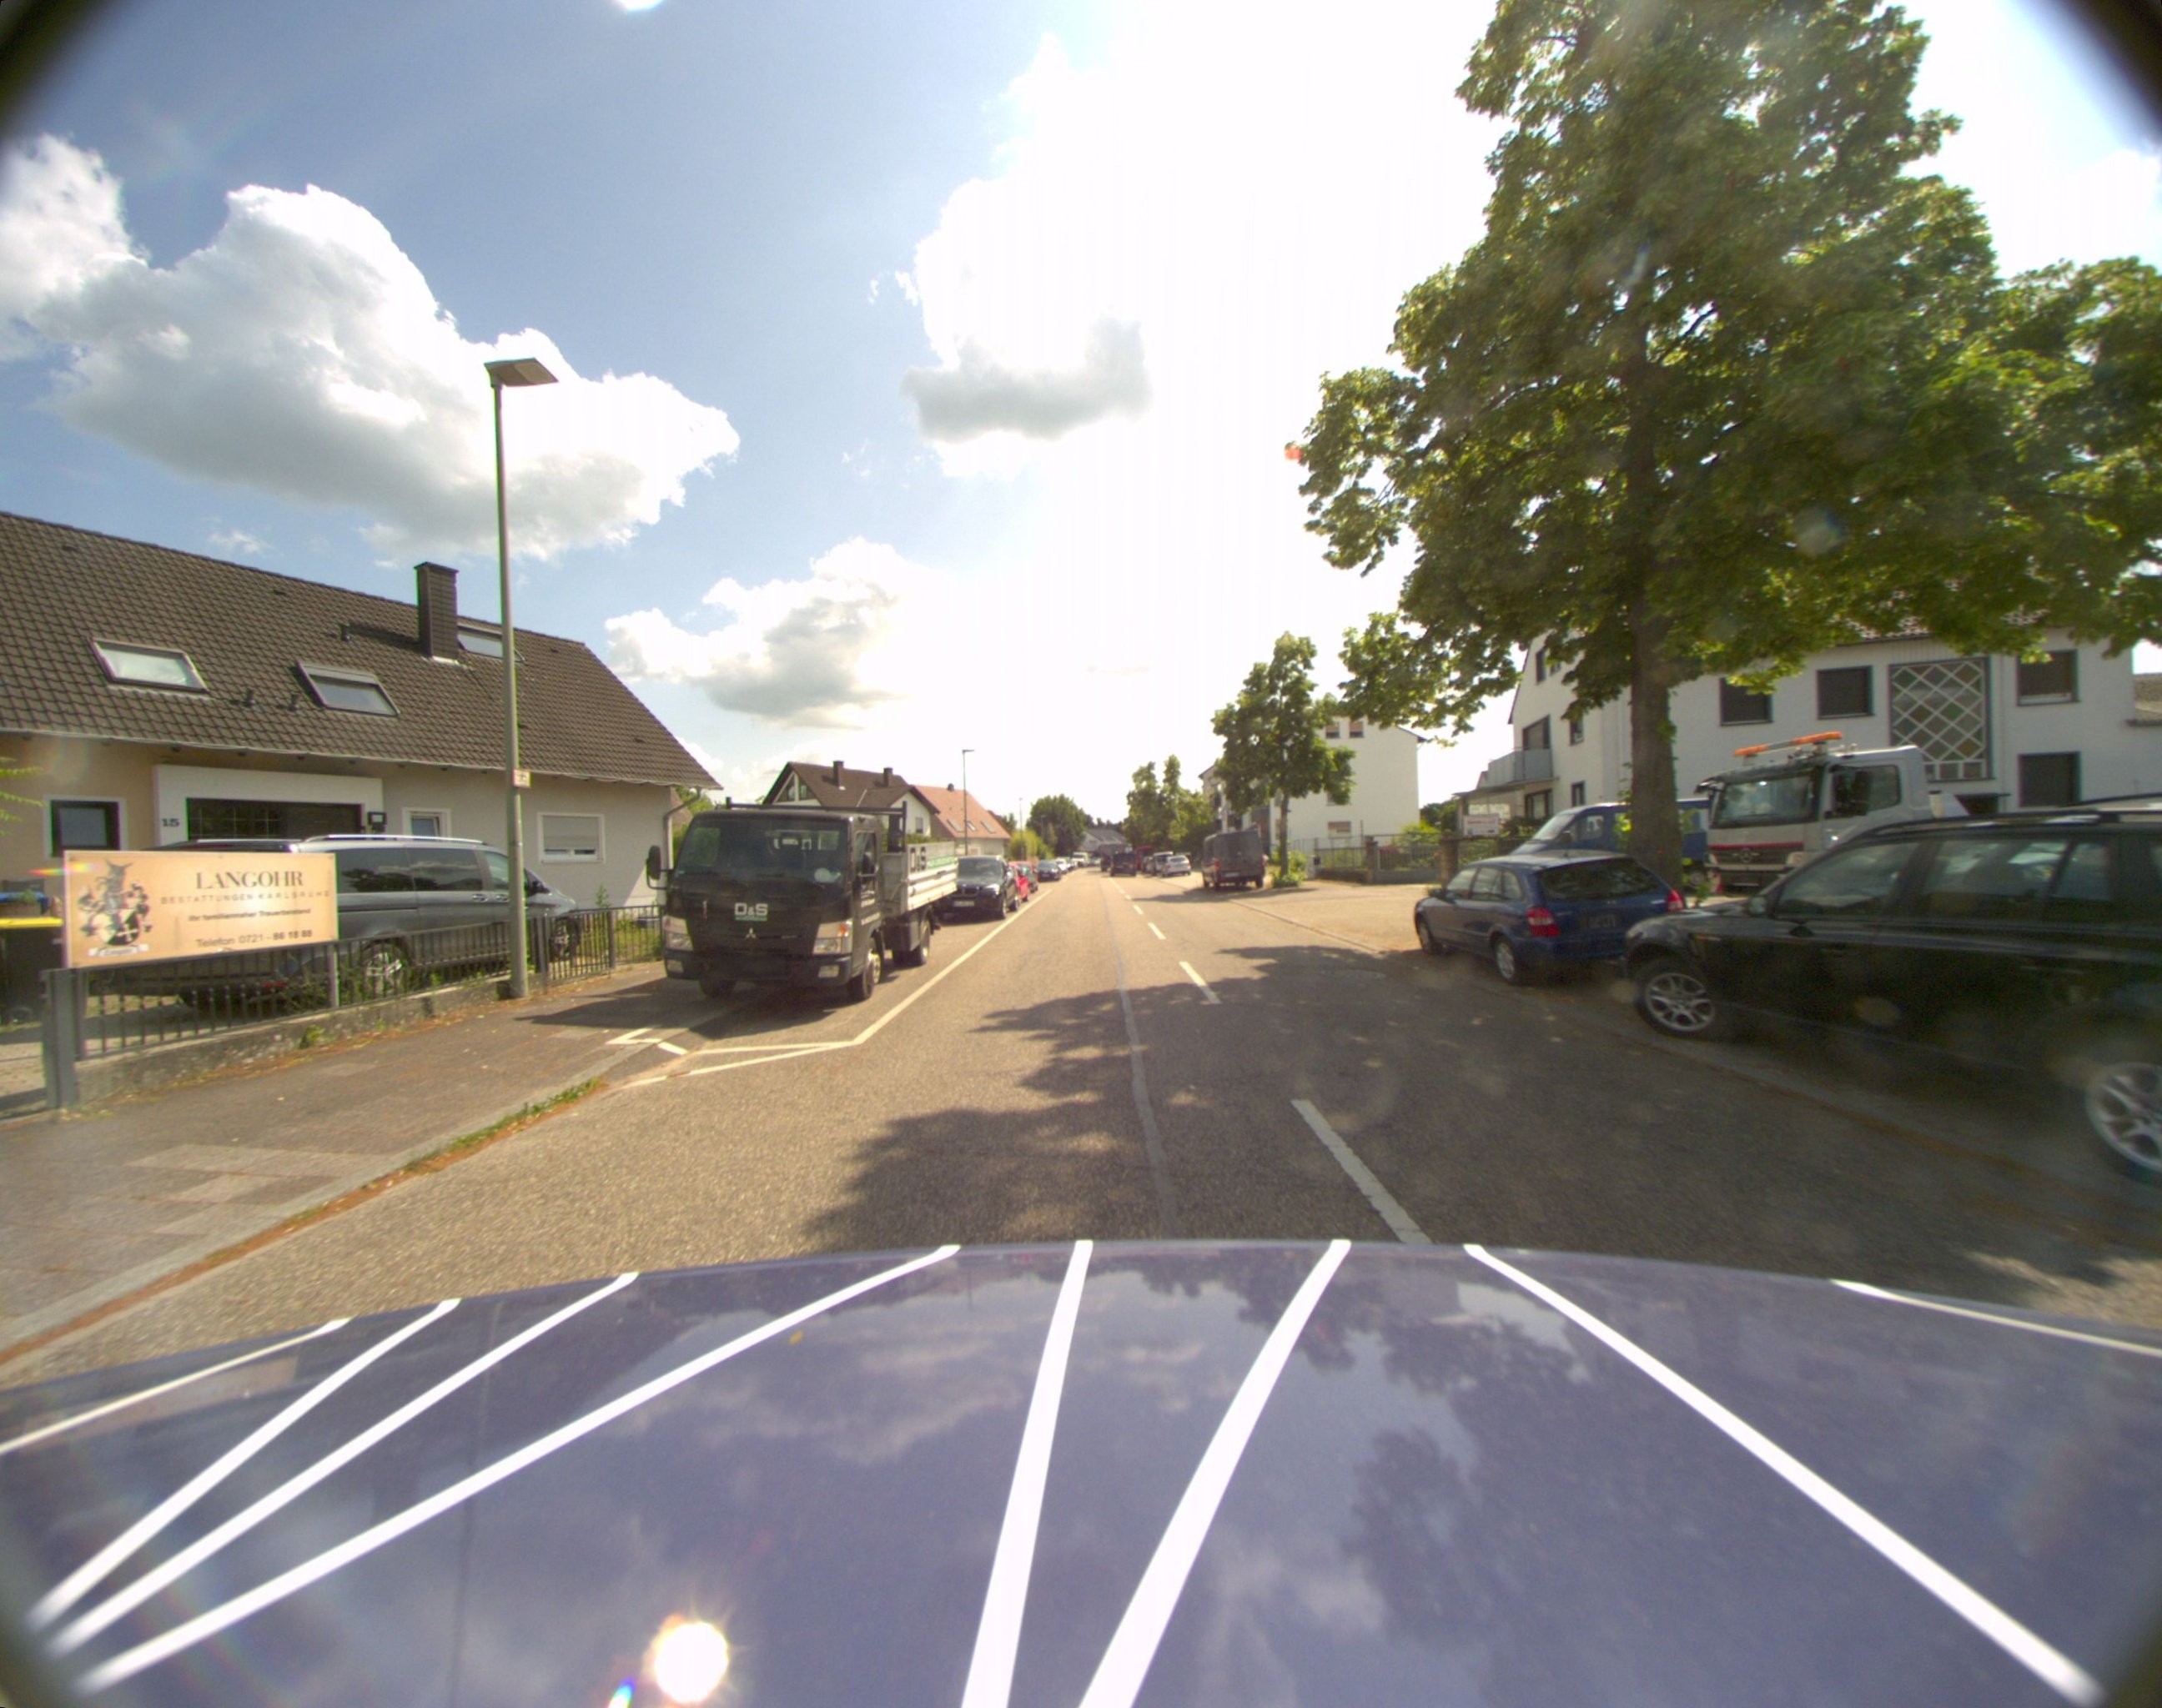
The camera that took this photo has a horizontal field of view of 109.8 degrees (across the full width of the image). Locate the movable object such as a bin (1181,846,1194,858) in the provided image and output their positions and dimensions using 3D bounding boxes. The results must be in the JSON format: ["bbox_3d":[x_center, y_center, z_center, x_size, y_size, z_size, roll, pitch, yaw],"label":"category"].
[{"bbox_3d":[12.860,-0.204,91.868,1.299,1.377,1.291,-3,0,-5],"label":"movable object such as a bin"}]

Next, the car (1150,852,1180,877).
[{"bbox_3d":[6.808,0.812,61.838,1.814,1.795,4.491,-5,0,1],"label":"car"}]

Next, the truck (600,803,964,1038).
[{"bbox_3d":[-3.423,0.648,10.461,2.528,2.286,5.895,1,0,2],"label":"truck"}]

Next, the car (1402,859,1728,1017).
[{"bbox_3d":[5.659,0.856,9.600,1.703,1.475,4.160,-3,0,5],"label":"car"}]

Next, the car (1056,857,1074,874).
[{"bbox_3d":[-1.802,1.294,87.115,1.896,1.763,4.709,-2,0,0],"label":"car"}]

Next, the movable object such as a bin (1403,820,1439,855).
[{"bbox_3d":[16.173,-0.753,36.194,1.311,1.422,1.606,-2,-6,18],"label":"movable object such as a bin"}]

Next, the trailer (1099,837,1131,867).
[{"bbox_3d":[3.668,-0.191,84.023,2.842,3.051,8.888,-2,0,-1],"label":"trailer"}]

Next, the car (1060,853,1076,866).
[{"bbox_3d":[-1.631,0.691,97.018,1.731,1.496,4.296,-1,0,2],"label":"car"}]

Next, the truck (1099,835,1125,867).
[{"bbox_3d":[3.609,-0.342,89.668,2.780,3.478,5.881,-2,0,0],"label":"truck"}]

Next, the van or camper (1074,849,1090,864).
[{"bbox_3d":[0.208,0.412,118.318,1.972,2.345,5.761,-1,0,4],"label":"van or camper"}]

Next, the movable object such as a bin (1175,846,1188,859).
[{"bbox_3d":[12.448,-0.182,94.409,1.299,1.477,1.305,-3,0,-5],"label":"movable object such as a bin"}]

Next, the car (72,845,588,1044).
[{"bbox_3d":[-8.869,0.869,9.858,1.862,1.855,5.019,-2,0,-4],"label":"car"}]

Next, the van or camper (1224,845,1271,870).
[{"bbox_3d":[12.370,0.245,56.264,1.776,1.534,4.007,-3,0,37],"label":"van or camper"}]

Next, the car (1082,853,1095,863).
[{"bbox_3d":[1.248,0.669,126.324,1.683,1.513,4.065,-1,0,8],"label":"car"}]

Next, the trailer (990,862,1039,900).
[{"bbox_3d":[-2.707,1.063,31.602,1.612,1.370,4.432,-3,0,0],"label":"trailer"}]

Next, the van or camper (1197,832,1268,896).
[{"bbox_3d":[6.353,0.378,32.568,1.998,2.303,5.935,-5,0,4],"label":"van or camper"}]

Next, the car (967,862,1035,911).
[{"bbox_3d":[-2.669,1.043,26.171,1.689,1.427,4.146,-3,0,2],"label":"car"}]

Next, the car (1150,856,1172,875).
[{"bbox_3d":[7.083,1.009,67.761,1.626,1.461,3.926,-4,1,2],"label":"car"}]

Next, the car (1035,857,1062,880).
[{"bbox_3d":[-2.263,1.006,53.997,1.748,1.541,4.121,-1,0,0],"label":"car"}]

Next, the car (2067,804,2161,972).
[{"bbox_3d":[12.364,0.282,6.775,4.535,1.573,1.828,-1,0,3],"label":"car"}]

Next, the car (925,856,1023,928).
[{"bbox_3d":[-2.776,0.938,20.696,1.834,1.652,4.554,-2,0,2],"label":"car"}]

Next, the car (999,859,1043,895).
[{"bbox_3d":[-2.796,1.045,36.182,1.696,1.454,4.755,-3,0,0],"label":"car"}]

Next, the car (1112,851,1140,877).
[{"bbox_3d":[3.652,0.784,62.082,2.056,2.022,5.141,0,0,1],"label":"car"}]

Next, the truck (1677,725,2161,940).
[{"bbox_3d":[15.036,-0.332,11.617,9.277,2.839,2.721,-2,0,5],"label":"truck"}]

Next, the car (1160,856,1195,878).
[{"bbox_3d":[7.051,0.970,56.134,1.753,1.452,4.709,-5,-1,-1],"label":"car"}]

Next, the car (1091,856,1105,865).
[{"bbox_3d":[2.987,1.054,132.809,1.817,1.513,4.269,-1,0,12],"label":"car"}]

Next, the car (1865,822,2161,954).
[{"bbox_3d":[12.567,0.372,9.225,4.206,1.450,1.679,-1,0,3],"label":"car"}]

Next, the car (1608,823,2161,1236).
[{"bbox_3d":[5.421,0.729,4.349,1.697,1.690,4.400,-4,0,1],"label":"car"}]

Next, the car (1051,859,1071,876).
[{"bbox_3d":[-1.959,1.343,75.044,1.749,1.543,4.292,-3,0,1],"label":"car"}]

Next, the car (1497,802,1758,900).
[{"bbox_3d":[13.734,-0.060,19.468,5.008,2.219,2.002,-2,2,14],"label":"car"}]

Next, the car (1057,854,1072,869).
[{"bbox_3d":[-1.797,0.793,82.030,1.446,1.496,3.671,-4,0,-1],"label":"car"}]
